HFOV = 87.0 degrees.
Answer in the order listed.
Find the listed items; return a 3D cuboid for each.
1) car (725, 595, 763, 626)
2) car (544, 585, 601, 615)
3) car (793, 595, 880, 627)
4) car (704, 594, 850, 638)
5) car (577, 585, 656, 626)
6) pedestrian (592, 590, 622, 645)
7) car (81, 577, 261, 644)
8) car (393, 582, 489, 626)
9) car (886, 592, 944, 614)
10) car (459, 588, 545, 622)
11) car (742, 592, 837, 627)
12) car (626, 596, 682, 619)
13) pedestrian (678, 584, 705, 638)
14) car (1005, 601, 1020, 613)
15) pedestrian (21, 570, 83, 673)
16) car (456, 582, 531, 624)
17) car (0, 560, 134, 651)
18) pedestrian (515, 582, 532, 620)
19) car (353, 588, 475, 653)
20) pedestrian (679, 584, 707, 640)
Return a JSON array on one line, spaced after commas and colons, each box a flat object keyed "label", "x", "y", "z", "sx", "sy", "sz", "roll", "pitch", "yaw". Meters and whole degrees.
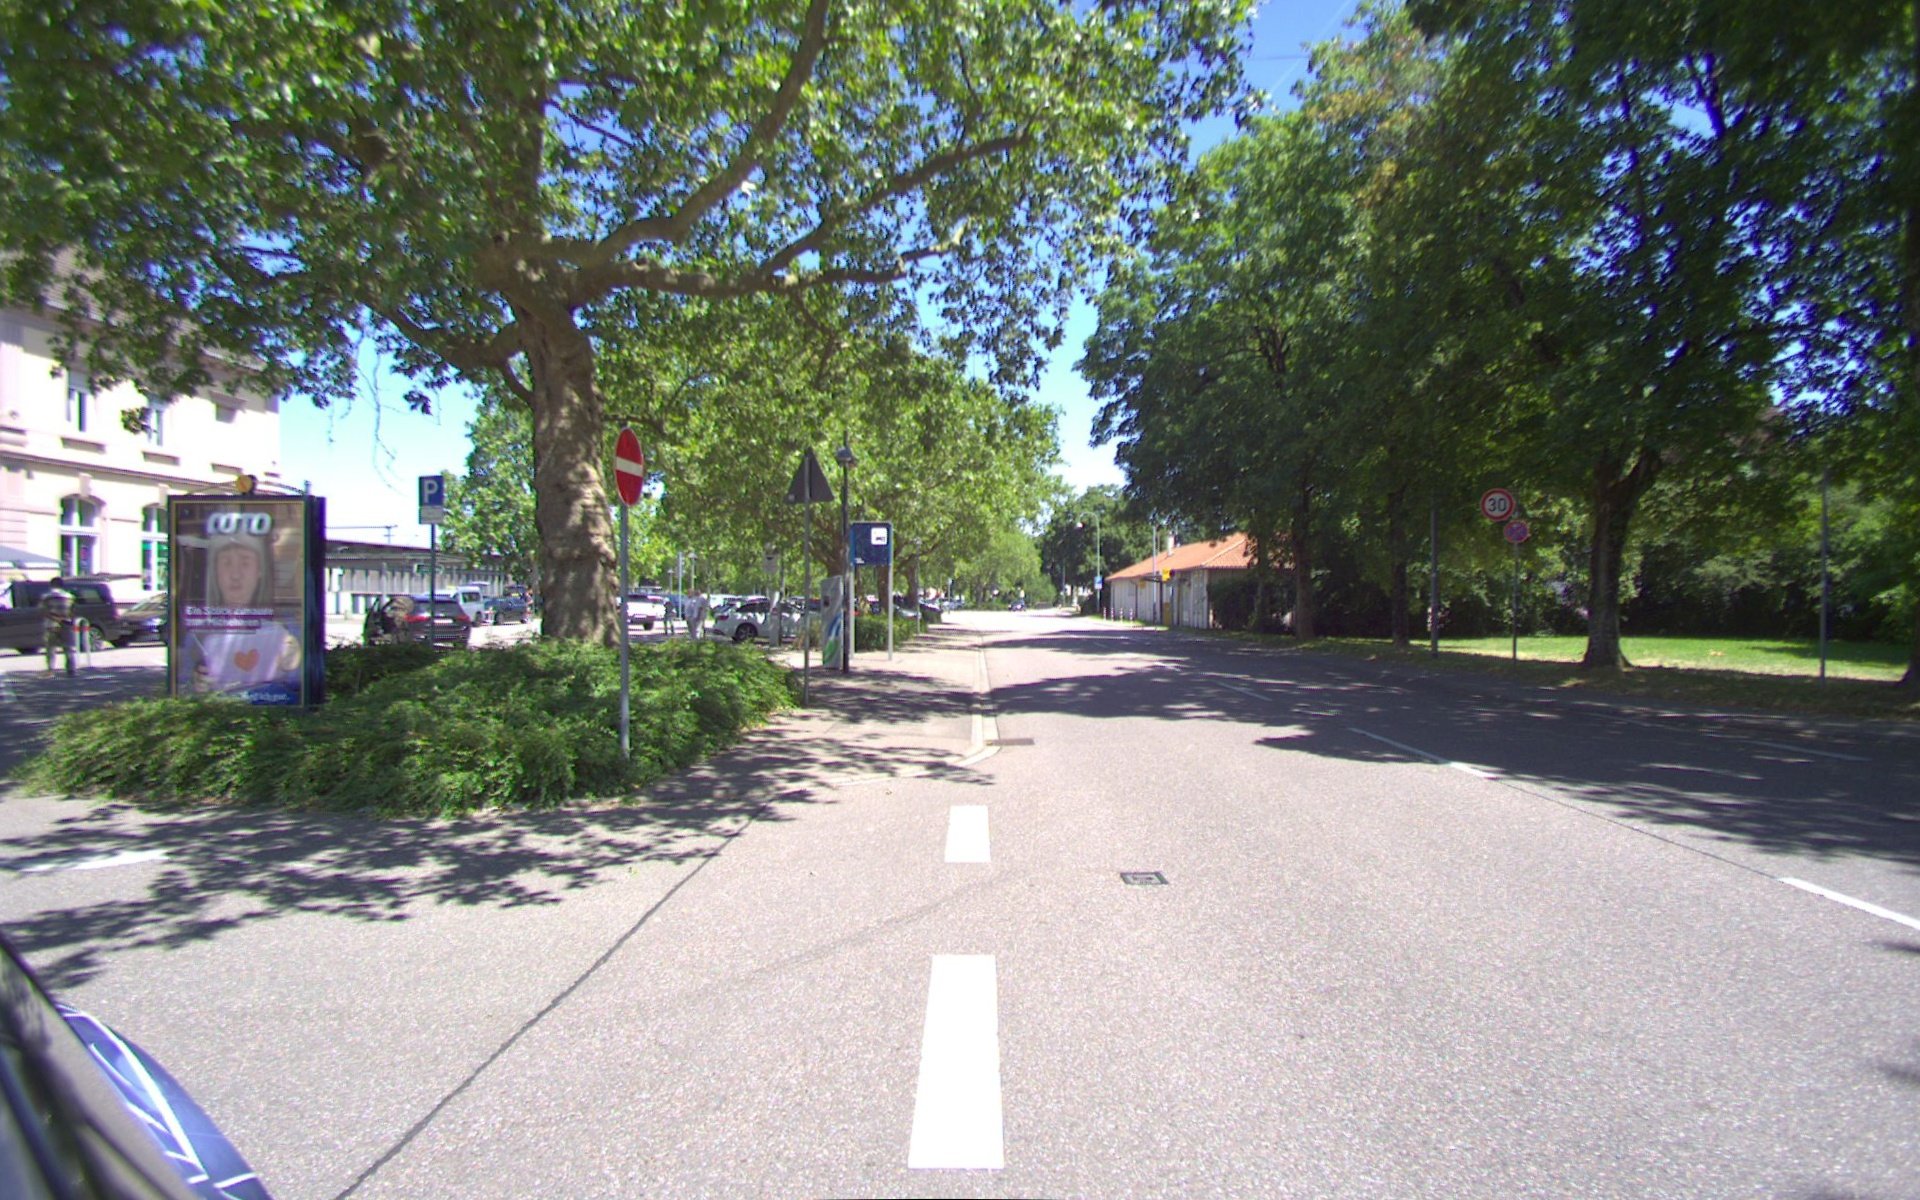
[{"label": "car", "x": -13.875, "y": 0.621, "z": 64.872, "sx": 1.708, "sy": 1.908, "sz": 4.013, "roll": 0, "pitch": 0, "yaw": -22}, {"label": "car", "x": -25.590, "y": -0.016, "z": 66.950, "sx": 1.973, "sy": 1.802, "sz": 4.245, "roll": -2, "pitch": 1, "yaw": 2}, {"label": "car", "x": -5.923, "y": 0.514, "z": 48.646, "sx": 3.809, "sy": 1.471, "sz": 1.642, "roll": 0, "pitch": 0, "yaw": -27}, {"label": "car", "x": -6.247, "y": 0.502, "z": 34.478, "sx": 4.696, "sy": 1.427, "sz": 1.792, "roll": 0, "pitch": 0, "yaw": -18}, {"label": "car", "x": -15.207, "y": 0.206, "z": 44.722, "sx": 1.774, "sy": 1.617, "sz": 4.067, "roll": -2, "pitch": 3, "yaw": -44}, {"label": "pedestrian", "x": -10.185, "y": 0.505, "z": 29.228, "sx": 0.583, "sy": 1.559, "sz": 0.609, "roll": 1, "pitch": 0, "yaw": 10}, {"label": "car", "x": -24.175, "y": 0.318, "z": 31.270, "sx": 2.049, "sy": 1.854, "sz": 4.845, "roll": -1, "pitch": 0, "yaw": -4}, {"label": "car", "x": -23.847, "y": 0.181, "z": 46.752, "sx": 1.974, "sy": 1.854, "sz": 5.323, "roll": -2, "pitch": 0, "yaw": -4}, {"label": "car", "x": -3.119, "y": 0.214, "z": 70.025, "sx": 3.812, "sy": 1.471, "sz": 1.640, "roll": 0, "pitch": 0, "yaw": -12}, {"label": "car", "x": -31.050, "y": 0.305, "z": 68.748, "sx": 4.895, "sy": 2.136, "sz": 2.051, "roll": -2, "pitch": 0, "yaw": 0}, {"label": "car", "x": -7.462, "y": 0.399, "z": 44.377, "sx": 3.809, "sy": 1.471, "sz": 1.642, "roll": 0, "pitch": 0, "yaw": -27}, {"label": "car", "x": -18.964, "y": 0.460, "z": 62.704, "sx": 3.512, "sy": 1.413, "sz": 1.779, "roll": 0, "pitch": 0, "yaw": 42}, {"label": "pedestrian", "x": -8.965, "y": 0.367, "z": 33.723, "sx": 0.824, "sy": 1.784, "sz": 0.854, "roll": 0, "pitch": 0, "yaw": -18}, {"label": "car", "x": 6.628, "y": 0.833, "z": 127.334, "sx": 1.642, "sy": 1.386, "sz": 3.444, "roll": -3, "pitch": 0, "yaw": 7}, {"label": "pedestrian", "x": -15.732, "y": 0.358, "z": 17.534, "sx": 0.815, "sy": 1.730, "sz": 0.762, "roll": 0, "pitch": 0, "yaw": 44}, {"label": "car", "x": -24.153, "y": 0.123, "z": 52.591, "sx": 1.974, "sy": 2.005, "sz": 4.607, "roll": -2, "pitch": 0, "yaw": -4}, {"label": "car", "x": -23.714, "y": 0.163, "z": 25.072, "sx": 2.062, "sy": 2.140, "sz": 5.831, "roll": -1, "pitch": 0, "yaw": -4}, {"label": "pedestrian", "x": -23.846, "y": 0.057, "z": 55.326, "sx": 0.619, "sy": 2.005, "sz": 0.618, "roll": -2, "pitch": 0, "yaw": -4}, {"label": "car", "x": -15.259, "y": 0.494, "z": 28.172, "sx": 1.774, "sy": 1.554, "sz": 4.533, "roll": -2, "pitch": 3, "yaw": -45}, {"label": "pedestrian", "x": -8.636, "y": 0.377, "z": 32.734, "sx": 0.824, "sy": 1.784, "sz": 0.854, "roll": 0, "pitch": 0, "yaw": -19}]
